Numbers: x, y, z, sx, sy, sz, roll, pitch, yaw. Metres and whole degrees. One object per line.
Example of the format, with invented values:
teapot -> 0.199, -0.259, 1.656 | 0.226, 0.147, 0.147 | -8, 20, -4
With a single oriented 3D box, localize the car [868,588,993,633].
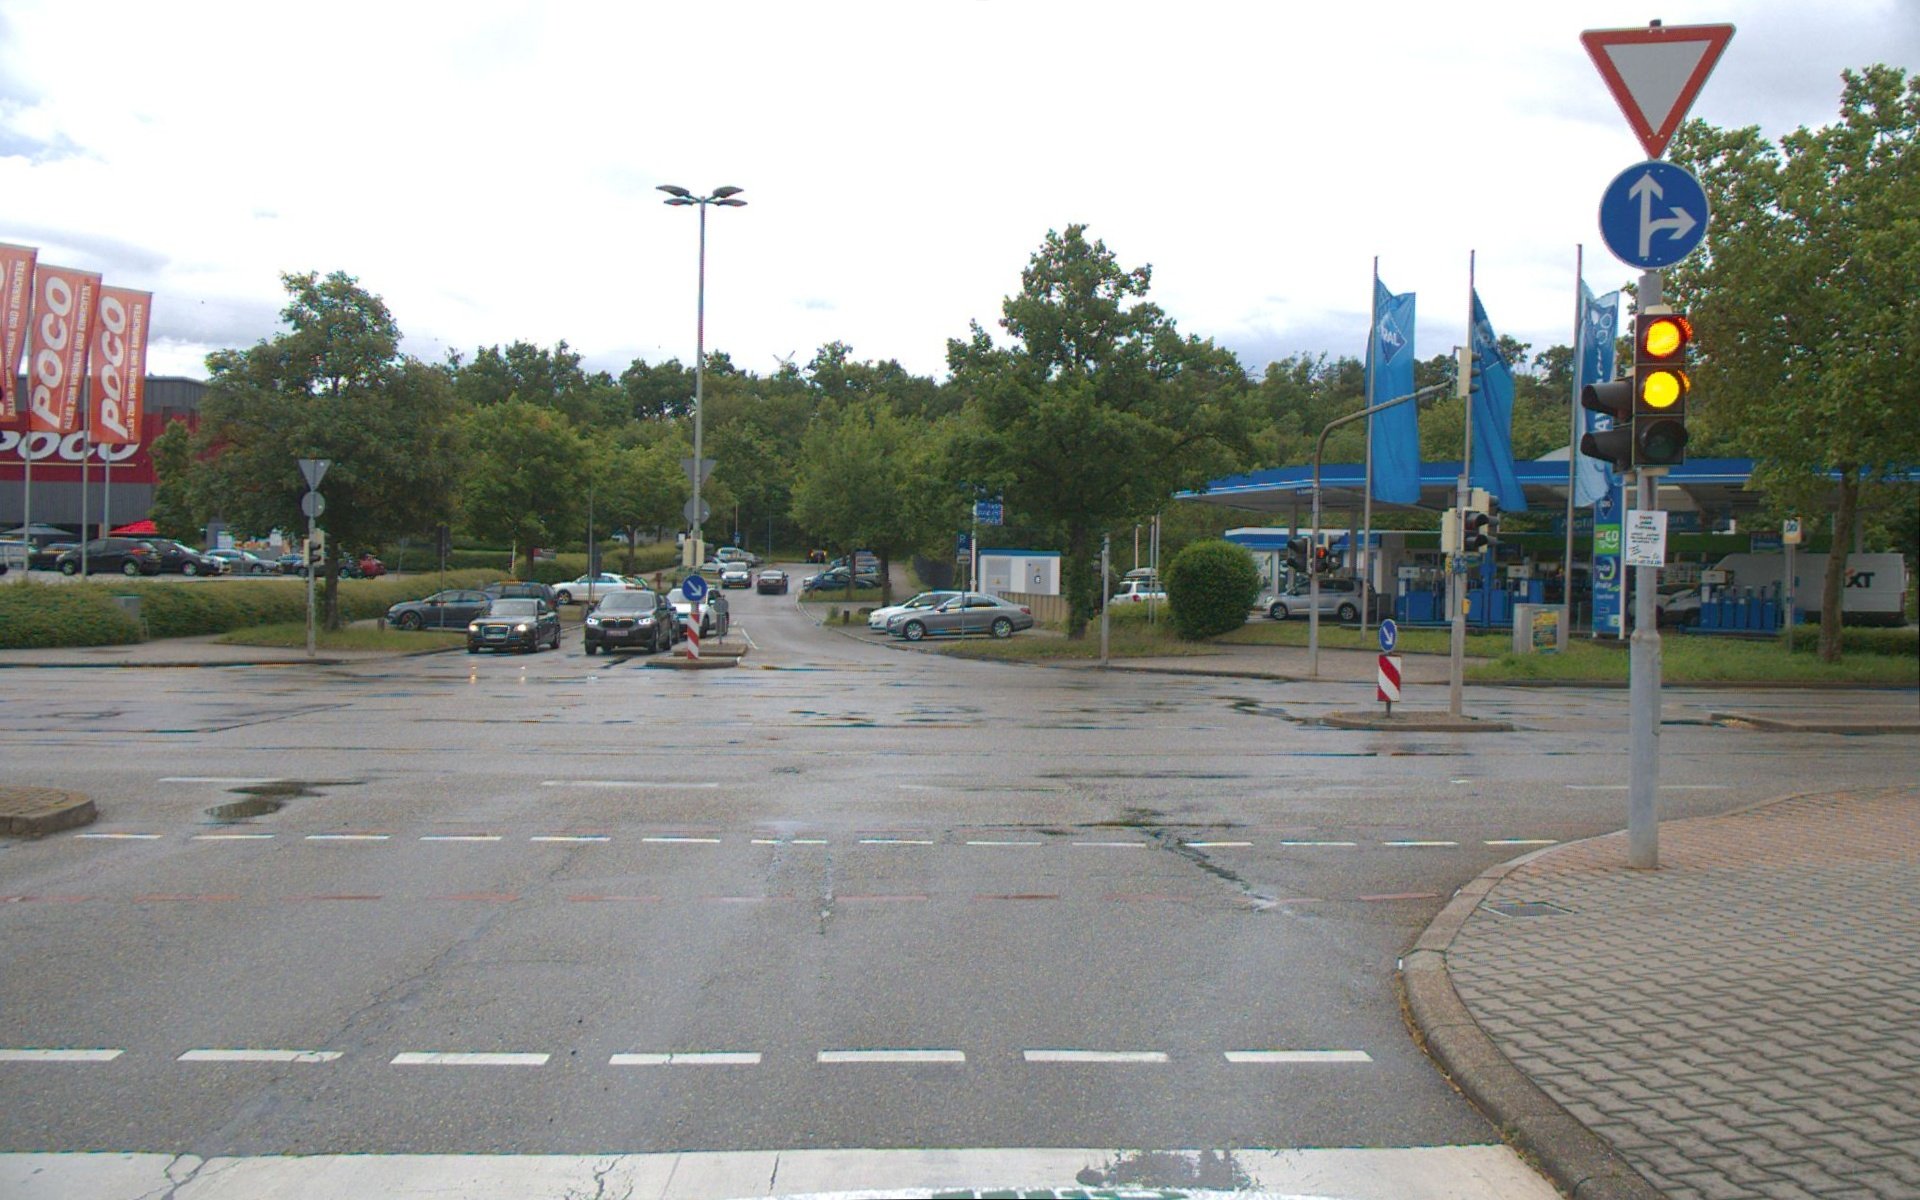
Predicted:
car -> -1.128, 0.379, 61.668 | 4.486, 1.617, 1.926 | 0, 0, -8

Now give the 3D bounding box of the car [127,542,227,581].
car -> -35.599, -1.743, 75.287 | 3.736, 1.674, 1.673 | 0, 0, 1

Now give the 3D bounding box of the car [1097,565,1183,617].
car -> 6.546, -0.319, 60.492 | 1.780, 1.828, 3.682 | 1, 0, -17

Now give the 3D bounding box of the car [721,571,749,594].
car -> -15.008, -1.130, 110.434 | 1.664, 1.481, 3.669 | 0, 0, -5

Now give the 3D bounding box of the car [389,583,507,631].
car -> -17.335, 0.230, 56.125 | 3.580, 1.580, 1.682 | 0, 0, -8

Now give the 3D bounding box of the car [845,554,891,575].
car -> -8.007, -3.111, 144.222 | 3.910, 1.769, 1.808 | 0, 0, -7

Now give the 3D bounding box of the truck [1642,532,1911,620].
truck -> 26.384, -0.771, 53.768 | 7.691, 2.722, 2.154 | 0, 0, 25

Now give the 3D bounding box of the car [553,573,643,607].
car -> -18.133, -0.494, 82.930 | 4.187, 1.637, 1.683 | 0, 0, -4

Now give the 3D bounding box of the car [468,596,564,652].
car -> -12.026, 0.628, 45.021 | 1.747, 1.429, 3.997 | 0, 0, -4

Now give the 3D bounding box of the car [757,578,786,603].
car -> -11.733, -0.593, 103.153 | 1.772, 1.508, 3.746 | 0, 0, -6

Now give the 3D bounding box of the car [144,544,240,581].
car -> -36.183, -1.741, 77.995 | 3.736, 1.674, 1.673 | 0, 0, 1

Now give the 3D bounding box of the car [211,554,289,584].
car -> -40.646, -1.750, 94.753 | 3.736, 1.674, 1.673 | 0, 0, 1

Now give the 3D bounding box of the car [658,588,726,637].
car -> -8.954, 0.404, 55.543 | 1.858, 1.580, 3.997 | 0, 0, -4

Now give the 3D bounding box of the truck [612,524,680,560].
truck -> -35.893, -6.622, 189.380 | 7.213, 3.928, 2.779 | 0, 0, 2

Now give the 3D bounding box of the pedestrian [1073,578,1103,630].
pedestrian -> 4.259, 0.139, 55.005 | 0.794, 1.690, 0.884 | 0, -1, -12

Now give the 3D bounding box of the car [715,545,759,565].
car -> -21.064, -4.243, 156.290 | 3.907, 1.825, 1.855 | 0, 0, -3

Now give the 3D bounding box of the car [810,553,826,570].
car -> -15.747, -4.223, 183.511 | 1.769, 1.769, 3.995 | 0, 0, -5

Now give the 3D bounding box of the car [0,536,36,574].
car -> -37.633, -1.722, 63.070 | 3.816, 1.405, 1.673 | 0, 0, 1

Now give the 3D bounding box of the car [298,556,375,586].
car -> -35.645, -1.661, 94.570 | 3.736, 1.674, 1.673 | 0, 0, 1

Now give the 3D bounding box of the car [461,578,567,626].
car -> -16.631, 0.075, 61.778 | 3.580, 1.755, 1.682 | 0, 0, -8

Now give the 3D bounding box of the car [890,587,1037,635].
car -> 0.100, 0.374, 56.468 | 4.794, 1.576, 1.997 | 0, 0, -8

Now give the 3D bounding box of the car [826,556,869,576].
car -> -10.331, -3.113, 151.615 | 3.910, 1.769, 1.808 | 0, 0, -7

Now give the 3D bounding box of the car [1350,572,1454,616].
car -> 18.359, -0.235, 68.710 | 3.909, 1.758, 1.793 | 0, 0, 27

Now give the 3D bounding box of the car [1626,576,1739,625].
car -> 25.936, 0.007, 59.377 | 3.487, 1.609, 1.685 | 2, 1, 31

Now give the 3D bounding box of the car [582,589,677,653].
car -> -8.700, 0.537, 43.892 | 1.858, 1.580, 4.588 | 0, 0, -4

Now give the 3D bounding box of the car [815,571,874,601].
car -> -6.827, -0.836, 97.569 | 3.393, 1.683, 1.614 | 1, 0, -6

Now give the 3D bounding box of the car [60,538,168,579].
car -> -35.926, -1.770, 70.284 | 3.736, 1.674, 1.673 | 0, 0, 1

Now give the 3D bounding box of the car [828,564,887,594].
car -> -6.446, -1.321, 104.217 | 3.627, 1.780, 1.695 | 1, 0, -6

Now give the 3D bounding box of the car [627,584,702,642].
car -> -8.865, 0.404, 49.938 | 1.760, 1.661, 4.547 | 0, 0, -4

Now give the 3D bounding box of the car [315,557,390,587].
car -> -35.739, -1.651, 97.354 | 3.736, 1.674, 1.673 | 0, 0, 1

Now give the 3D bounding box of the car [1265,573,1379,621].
car -> 14.293, -0.120, 65.311 | 4.037, 1.839, 1.942 | 0, -1, 30
